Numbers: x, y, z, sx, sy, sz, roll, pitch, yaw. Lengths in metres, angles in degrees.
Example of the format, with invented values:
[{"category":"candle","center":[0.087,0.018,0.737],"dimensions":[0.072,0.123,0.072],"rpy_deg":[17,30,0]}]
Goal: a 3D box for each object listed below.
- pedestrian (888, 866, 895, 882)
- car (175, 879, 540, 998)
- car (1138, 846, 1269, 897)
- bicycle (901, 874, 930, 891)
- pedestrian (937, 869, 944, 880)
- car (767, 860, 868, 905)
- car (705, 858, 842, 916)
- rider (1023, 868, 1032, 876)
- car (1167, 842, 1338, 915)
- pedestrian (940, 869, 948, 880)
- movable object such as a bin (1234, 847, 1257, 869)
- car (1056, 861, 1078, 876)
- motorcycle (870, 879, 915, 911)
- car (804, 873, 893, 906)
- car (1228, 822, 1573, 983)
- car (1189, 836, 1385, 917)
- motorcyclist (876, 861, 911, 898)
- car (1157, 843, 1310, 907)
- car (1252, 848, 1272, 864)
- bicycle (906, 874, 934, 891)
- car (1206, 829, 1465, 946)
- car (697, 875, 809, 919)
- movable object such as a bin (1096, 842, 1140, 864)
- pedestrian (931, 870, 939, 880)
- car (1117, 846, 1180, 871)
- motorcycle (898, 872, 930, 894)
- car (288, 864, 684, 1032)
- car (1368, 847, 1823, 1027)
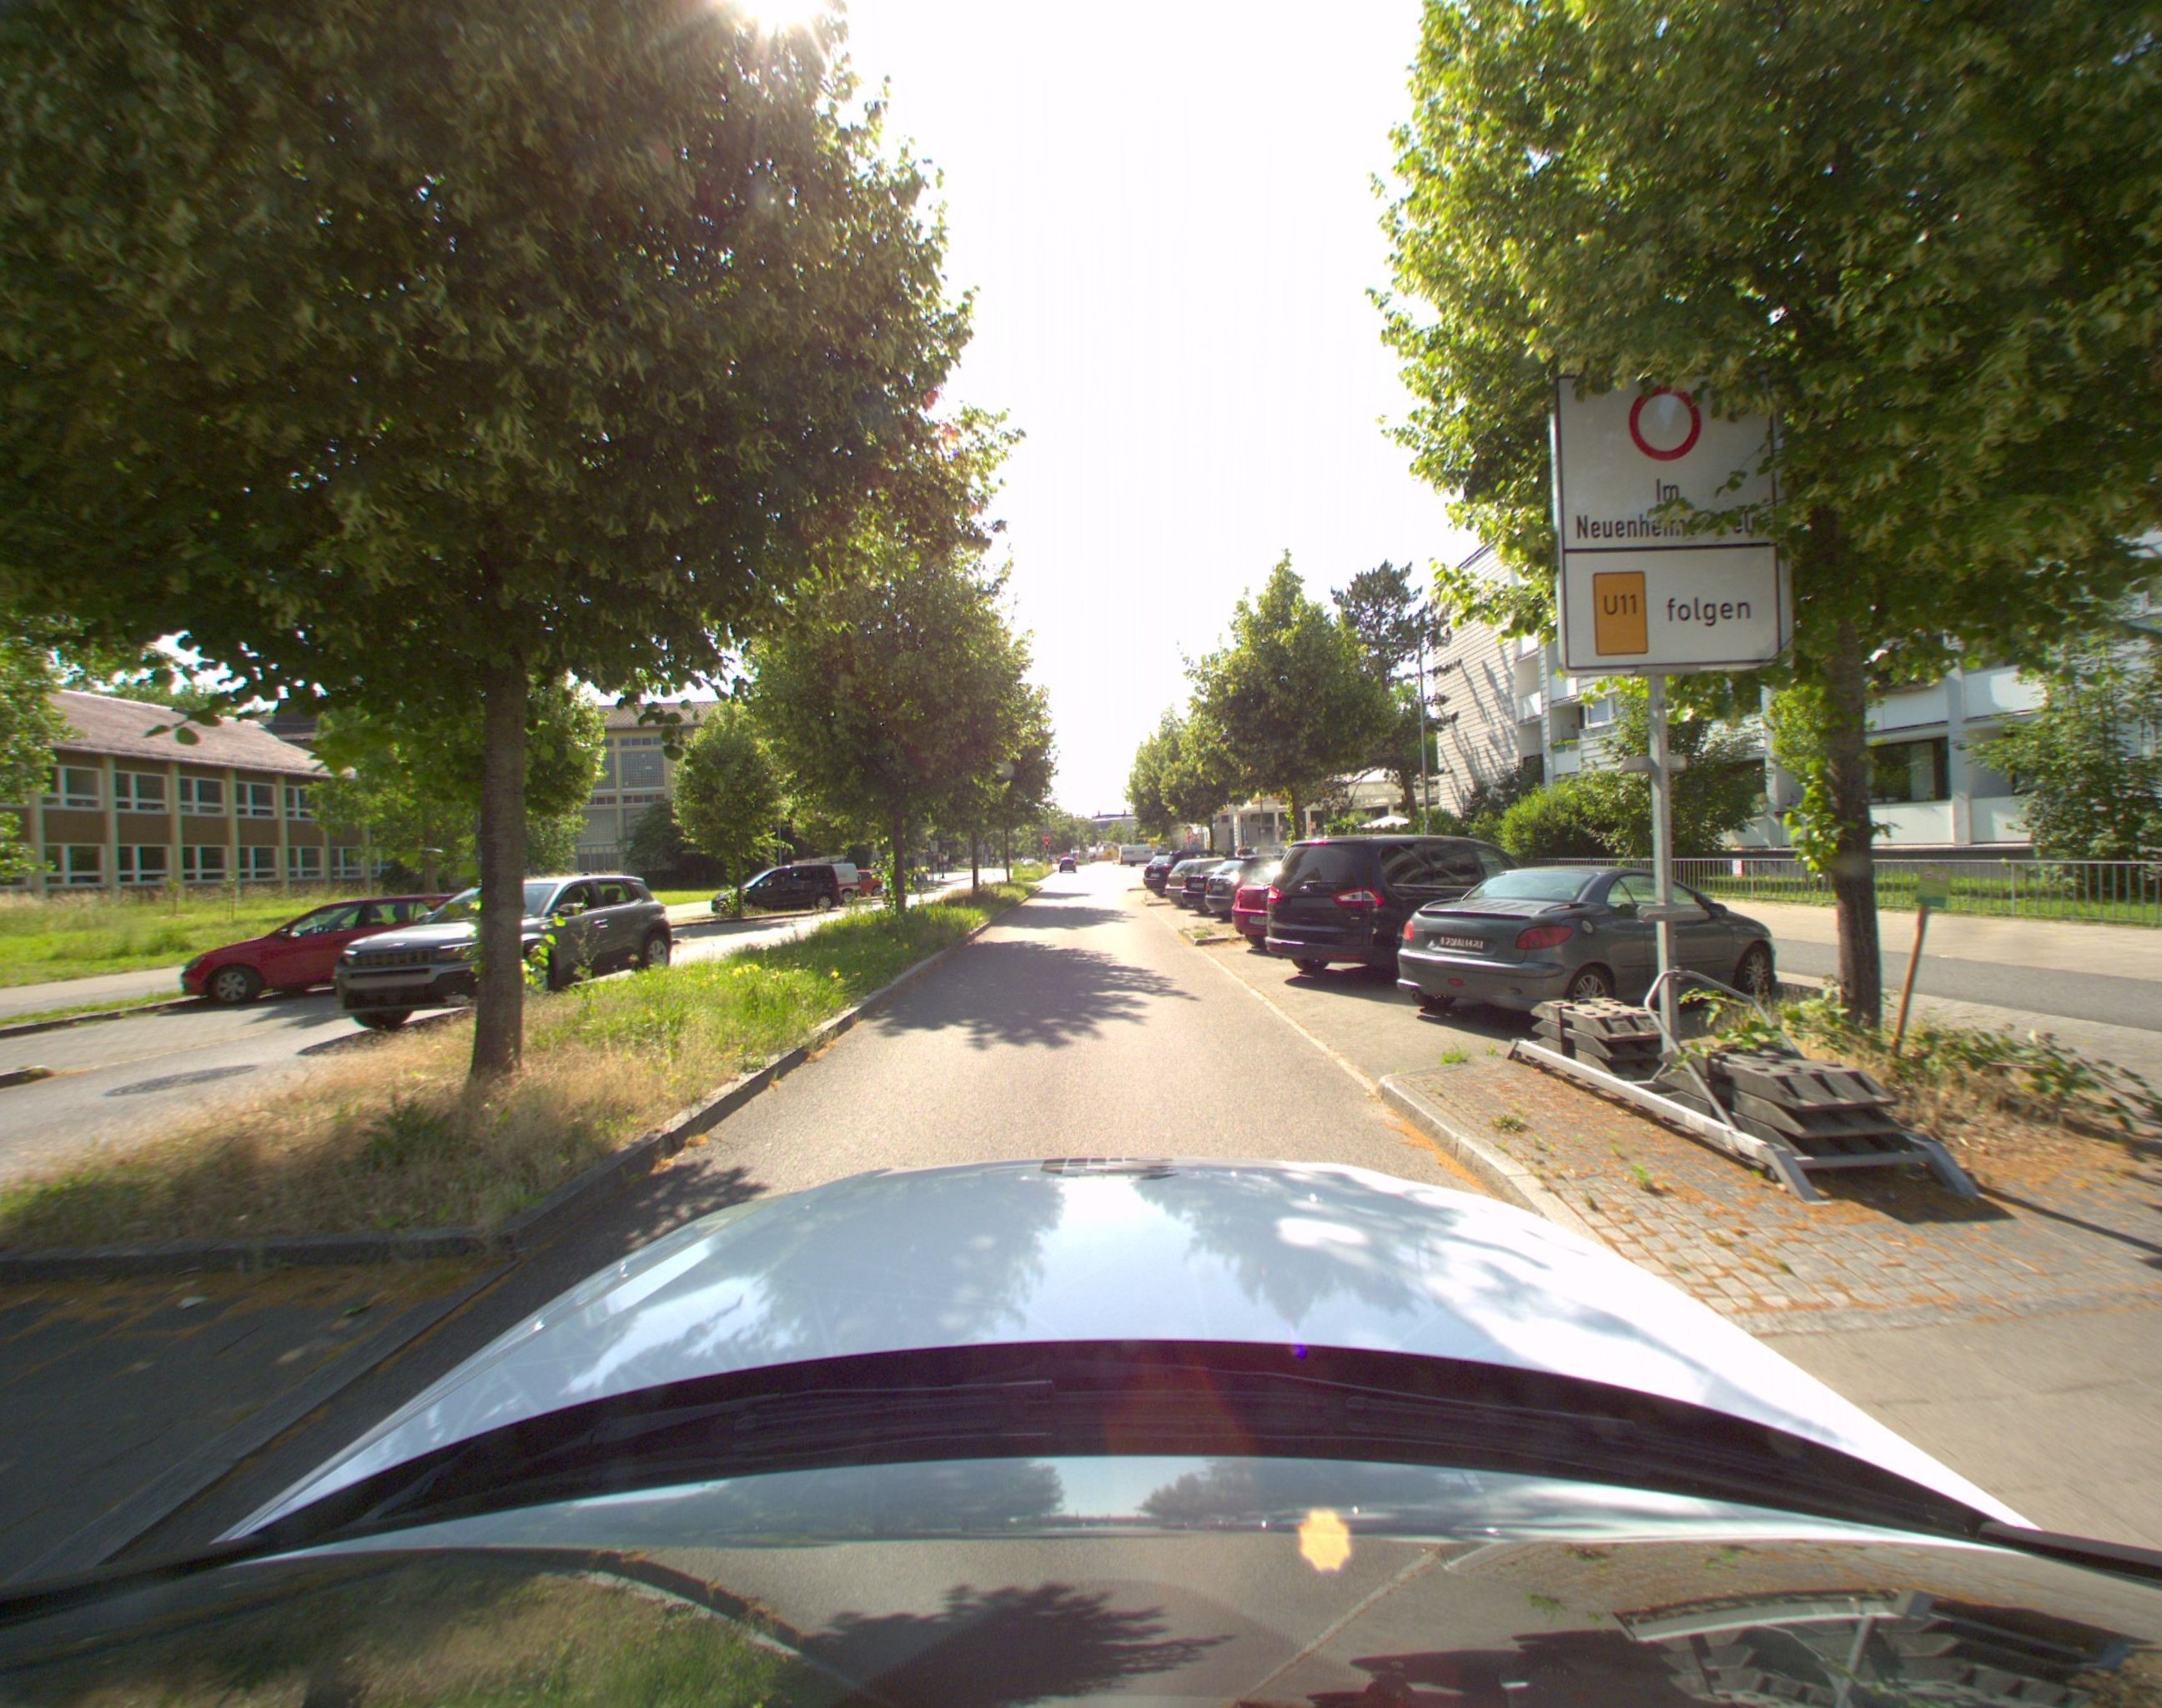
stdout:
[{"category":"pedestrian","center":[-21.222,2.247,91.374],"dimensions":[0.660,1.726,0.748],"rpy_deg":[-2,-1,-18]},{"category":"car","center":[-11.619,1.283,13.493],"dimensions":[4.002,1.466,1.986],"rpy_deg":[-3,0,-21]},{"category":"car","center":[4.537,0.622,29.798],"dimensions":[4.765,1.660,1.734],"rpy_deg":[-2,-1,-34]},{"category":"bicycle","center":[-11.725,2.039,57.723],"dimensions":[1.838,1.106,0.693],"rpy_deg":[-2,-1,1]},{"category":"pedestrian","center":[-21.487,3.171,124.319],"dimensions":[0.648,1.611,0.947],"rpy_deg":[-2,-1,23]},{"category":"car","center":[-11.377,1.208,35.185],"dimensions":[3.787,1.772,1.801],"rpy_deg":[-1,-1,-31]},{"category":"car","center":[-11.092,1.143,29.499],"dimensions":[4.209,1.816,1.981],"rpy_deg":[-2,0,-38]},{"category":"rider","center":[-8.929,2.999,136.803],"dimensions":[1.388,1.196,2.695],"rpy_deg":[-2,-1,-2]},{"category":"car","center":[4.440,0.591,21.089],"dimensions":[4.003,1.640,1.740],"rpy_deg":[-2,0,-22]},{"category":"pedestrian","center":[-20.812,3.131,123.592],"dimensions":[0.648,1.611,0.947],"rpy_deg":[-2,-1,23]},{"category":"movable object such as a bin","center":[12.517,0.299,61.831],"dimensions":[1.304,1.592,1.394],"rpy_deg":[-5,-1,-2]},{"category":"car","center":[-1.417,1.412,81.755],"dimensions":[1.989,1.398,3.995],"rpy_deg":[-2,-1,-3]},{"category":"motorcycle","center":[-6.413,1.383,27.849],"dimensions":[0.920,0.993,2.235],"rpy_deg":[-2,-1,1]},{"category":"car","center":[-11.445,1.713,40.167],"dimensions":[3.859,1.423,1.697],"rpy_deg":[-1,-2,-36]},{"category":"car","center":[4.115,0.485,10.347],"dimensions":[4.136,1.640,2.023],"rpy_deg":[-2,-1,-33]},{"category":"car","center":[4.717,0.483,18.749],"dimensions":[3.999,1.640,1.789],"rpy_deg":[-2,-1,-19]},{"category":"motorcyclist","center":[-6.428,0.878,28.023],"dimensions":[0.897,1.221,1.062],"rpy_deg":[-2,-1,1]},{"category":"car","center":[4.403,0.599,23.737],"dimensions":[3.990,1.640,1.746],"rpy_deg":[-2,-1,-12]},{"category":"car","center":[16.775,0.210,75.468],"dimensions":[1.639,1.398,3.652],"rpy_deg":[-2,-1,11]},{"category":"bicycle","center":[-11.670,2.053,59.048],"dimensions":[1.838,1.122,0.693],"rpy_deg":[-2,-1,1]},{"category":"car","center":[4.208,0.475,13.319],"dimensions":[4.015,1.640,1.861],"rpy_deg":[-1,-2,-33]},{"category":"car","center":[-12.769,1.620,31.727],"dimensions":[3.787,1.427,1.837],"rpy_deg":[-2,0,-31]},{"category":"movable object such as a bin","center":[8.320,-0.241,184.413],"dimensions":[9.638,4.550,3.165],"rpy_deg":[-2,-1,1]},{"category":"pedestrian","center":[-22.281,3.200,124.351],"dimensions":[0.648,1.611,0.947],"rpy_deg":[-2,-1,23]},{"category":"car","center":[8.277,0.534,100.212],"dimensions":[7.412,2.674,2.899],"rpy_deg":[-2,0,-3]},{"category":"motorcycle","center":[-10.522,1.838,51.304],"dimensions":[1.843,1.284,0.691],"rpy_deg":[-2,-1,-7]},{"category":"car","center":[-6.832,0.958,10.021],"dimensions":[1.735,1.547,4.073],"rpy_deg":[-3,-1,1]},{"category":"car","center":[4.869,0.631,7.672],"dimensions":[4.007,1.236,1.738],"rpy_deg":[-2,-1,-26]}]
